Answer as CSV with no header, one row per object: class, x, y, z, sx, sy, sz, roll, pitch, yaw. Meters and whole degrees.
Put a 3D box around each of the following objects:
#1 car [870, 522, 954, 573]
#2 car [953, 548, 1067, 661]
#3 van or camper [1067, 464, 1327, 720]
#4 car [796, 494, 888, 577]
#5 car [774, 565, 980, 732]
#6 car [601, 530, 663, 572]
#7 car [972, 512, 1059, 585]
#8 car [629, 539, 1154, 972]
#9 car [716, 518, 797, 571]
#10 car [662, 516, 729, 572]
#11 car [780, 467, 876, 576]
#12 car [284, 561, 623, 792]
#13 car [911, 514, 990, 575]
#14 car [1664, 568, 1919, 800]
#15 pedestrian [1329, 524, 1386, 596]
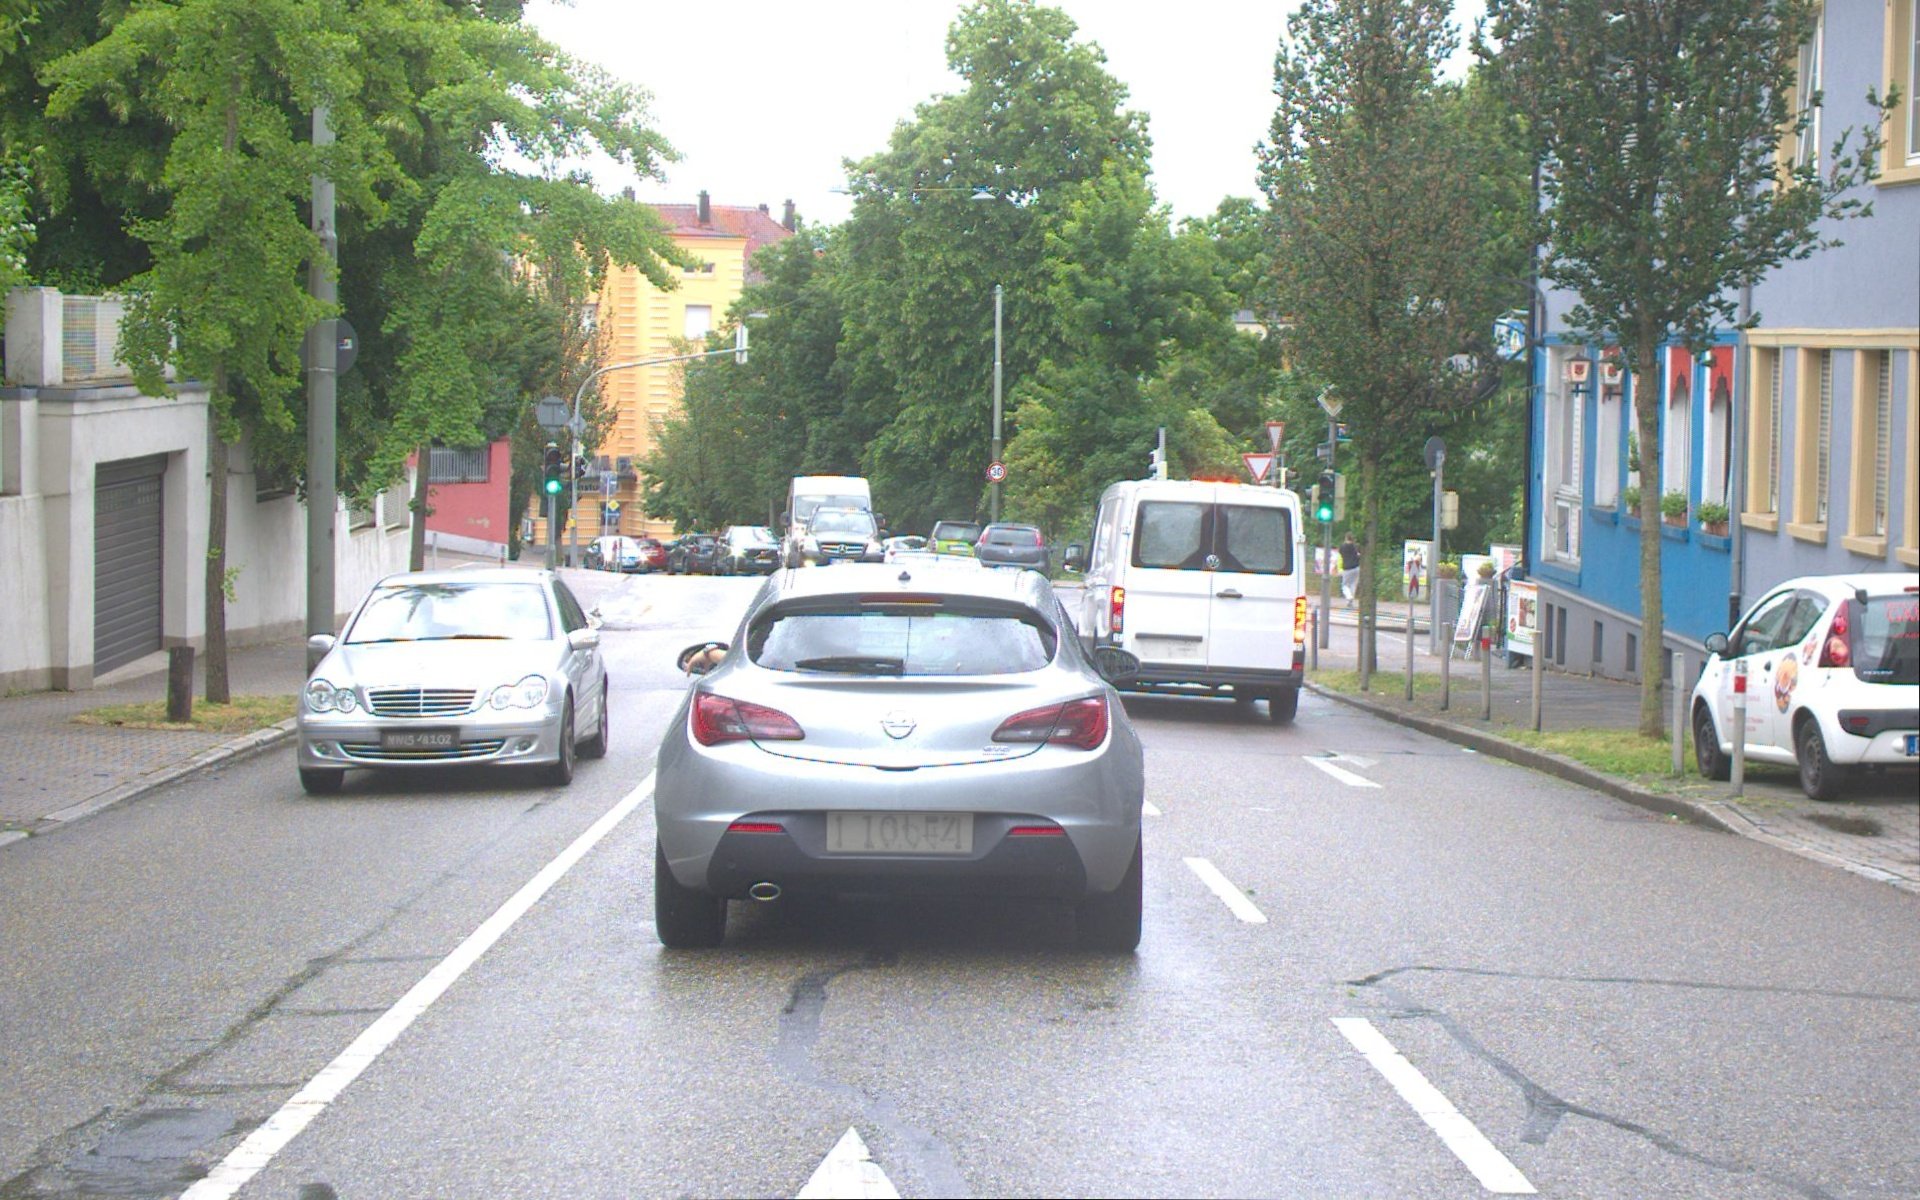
car,-1.600,-1.689,112.137,1.814,1.490,4.001,-5,1,-13
car,0.637,0.032,45.717,1.383,1.407,3.457,0,1,-1
van or camper,2.331,-0.125,35.303,2.103,2.318,5.418,3,1,-1
car,-2.575,-1.418,74.348,1.821,1.646,4.347,2,2,-3
car,-0.752,0.401,31.675,1.776,1.425,3.786,0,1,-1
car,-12.304,-1.814,128.866,1.773,1.492,4.264,2,0,-12
car,1.158,-1.073,73.018,1.620,1.481,3.436,1,0,-3
car,-0.270,0.515,14.145,1.815,1.425,4.001,2,2,-1
car,-6.320,-1.699,106.217,1.874,1.569,4.587,1,1,-11
car,-9.918,-2.087,128.762,1.993,2.007,4.001,1,0,-12
car,-3.257,-1.899,83.973,2.117,2.537,5.541,1,1,-4
car,-3.357,0.450,23.519,1.719,1.380,4.285,-1,1,-1
car,-0.252,-1.371,86.320,1.620,1.481,3.436,1,0,-6
car,6.081,0.512,23.419,1.586,1.407,3.457,-1,1,-5
pedestrian,8.891,-0.895,76.885,0.766,1.600,0.965,-2,1,-44
